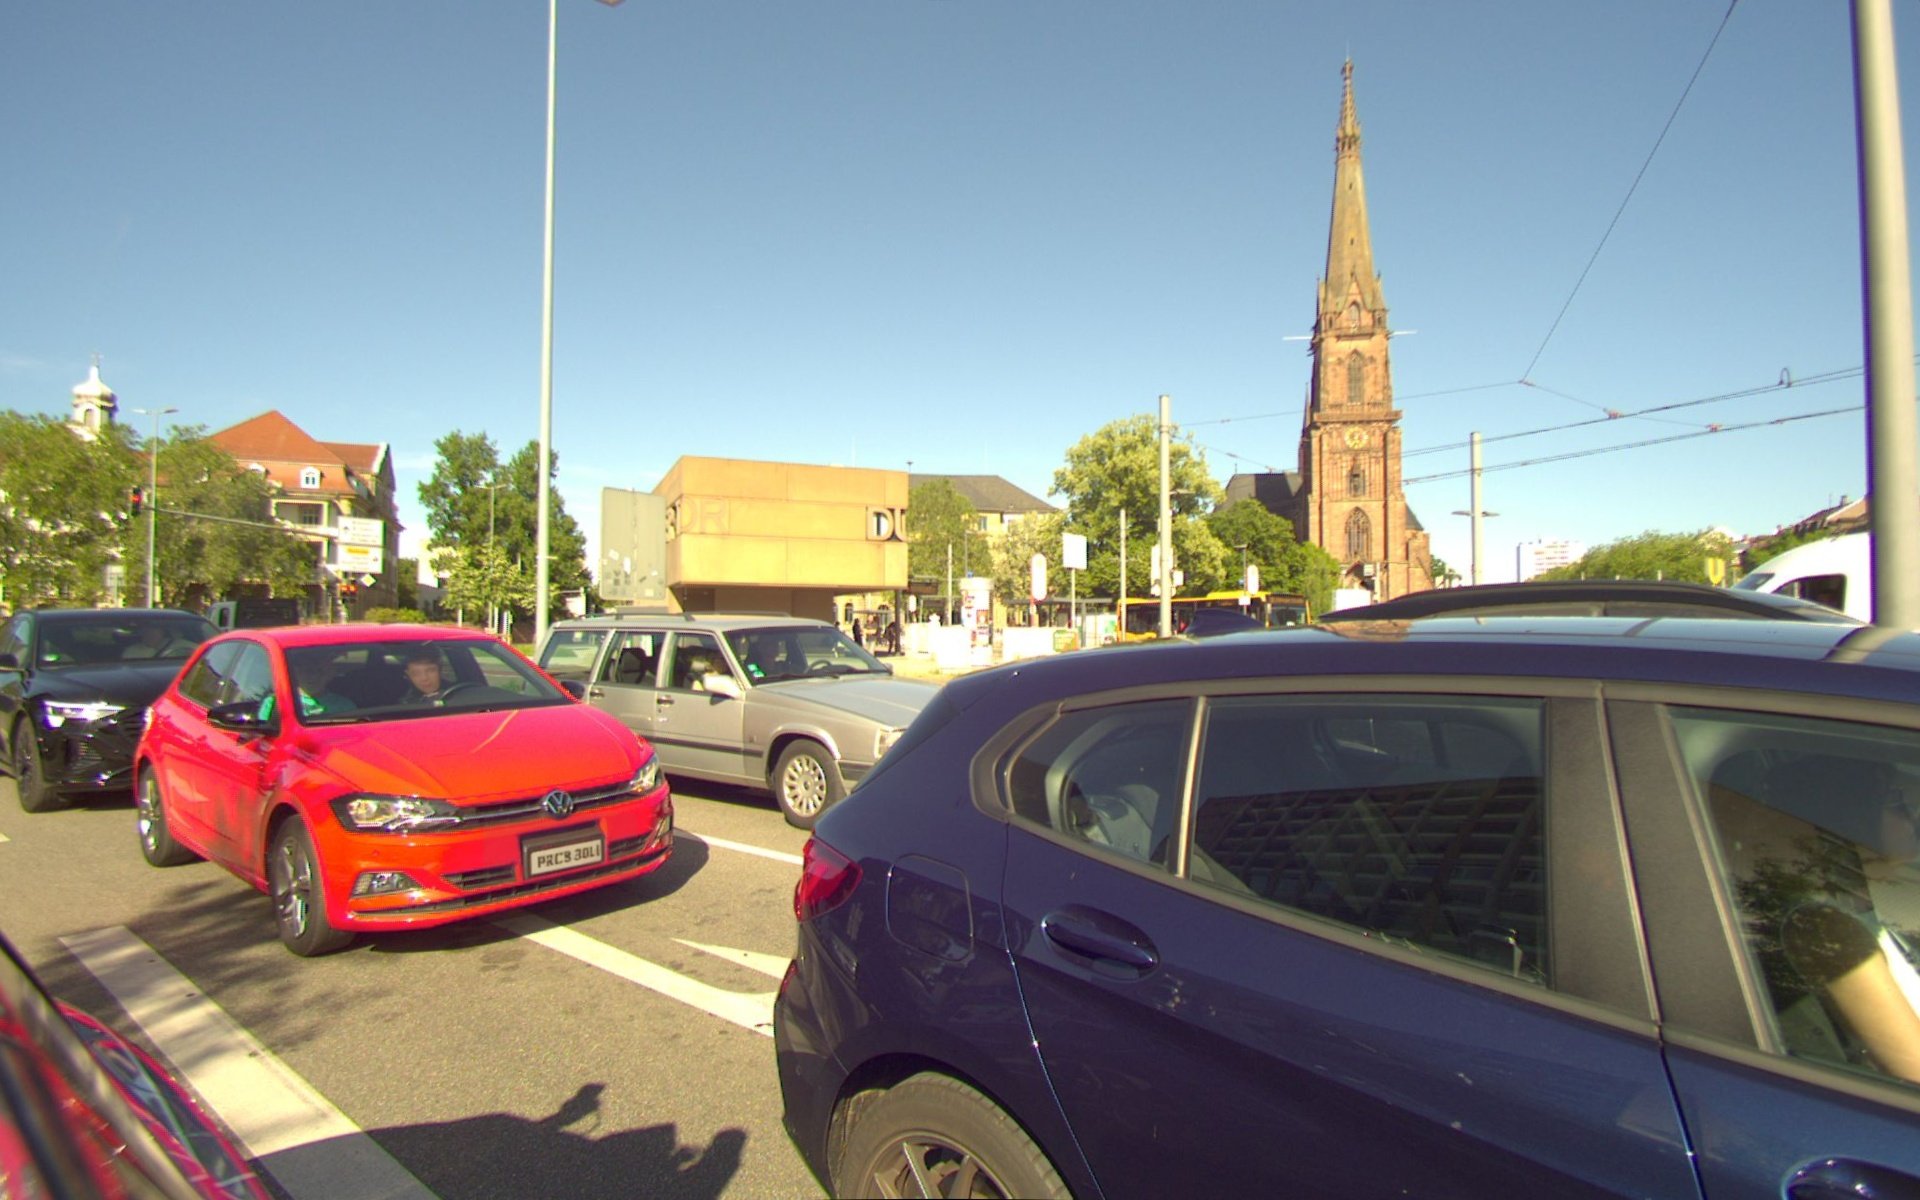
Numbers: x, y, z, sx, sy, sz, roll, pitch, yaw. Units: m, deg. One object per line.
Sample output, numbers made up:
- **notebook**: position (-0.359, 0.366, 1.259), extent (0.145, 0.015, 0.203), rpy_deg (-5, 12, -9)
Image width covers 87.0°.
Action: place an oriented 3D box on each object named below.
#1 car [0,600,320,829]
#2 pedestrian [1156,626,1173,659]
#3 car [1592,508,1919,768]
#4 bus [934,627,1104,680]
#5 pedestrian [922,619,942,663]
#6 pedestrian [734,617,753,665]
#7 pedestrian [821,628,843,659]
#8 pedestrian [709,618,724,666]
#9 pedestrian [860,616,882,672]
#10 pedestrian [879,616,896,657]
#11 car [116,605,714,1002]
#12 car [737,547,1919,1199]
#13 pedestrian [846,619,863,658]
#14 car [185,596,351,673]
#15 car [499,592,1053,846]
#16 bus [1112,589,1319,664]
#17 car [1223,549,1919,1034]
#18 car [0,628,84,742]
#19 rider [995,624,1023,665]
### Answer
- **car**: position (-7.805, 0.879, 9.299), extent (4.446, 1.628, 1.836), rpy_deg (-1, -2, 38)
- **pedestrian**: position (9.742, 2.013, 48.175), extent (0.570, 1.525, 0.521), rpy_deg (-1, -1, 40)
- **car**: position (9.919, 0.391, 10.628), extent (5.396, 2.527, 1.980), rpy_deg (-1, -2, 29)
- **bus**: position (1.479, 1.344, 26.193), extent (4.174, 1.251, 1.627), rpy_deg (-1, -2, 35)
- **pedestrian**: position (-1.137, 1.660, 41.012), extent (0.634, 1.789, 0.470), rpy_deg (1, -2, -29)
- **pedestrian**: position (-8.133, 1.533, 38.055), extent (0.635, 1.789, 0.618), rpy_deg (0, -2, -8)
- **pedestrian**: position (-5.477, 1.860, 43.212), extent (0.635, 1.320, 0.764), rpy_deg (1, -2, -40)
- **pedestrian**: position (-9.290, 1.593, 38.575), extent (0.460, 1.789, 0.648), rpy_deg (0, -2, -21)
- **pedestrian**: position (-2.926, 1.447, 33.179), extent (0.658, 1.802, 0.646), rpy_deg (-1, -1, -2)
- **pedestrian**: position (-3.213, 1.624, 45.043), extent (0.468, 1.789, 0.638), rpy_deg (-2, -2, 36)
- **car**: position (-3.242, 0.807, 5.691), extent (3.850, 1.484, 1.653), rpy_deg (-2, -1, 40)
- **car**: position (1.614, 0.674, 1.343), extent (4.030, 1.456, 1.692), rpy_deg (-1, -1, 42)
- **pedestrian**: position (-4.856, 1.787, 46.620), extent (0.468, 1.789, 0.638), rpy_deg (-2, -2, 36)
- **car**: position (-22.695, 1.133, 33.128), extent (6.191, 2.331, 2.095), rpy_deg (-1, -2, 31)
- **car**: position (-1.720, 0.806, 8.245), extent (4.746, 1.484, 1.692), rpy_deg (-3, 0, 38)
- **bus**: position (11.621, 1.319, 48.113), extent (2.715, 3.088, 12.201), rpy_deg (1, -2, -23)
- **car**: position (3.320, 0.619, 4.122), extent (4.010, 1.529, 1.738), rpy_deg (-2, -2, 44)
- **car**: position (-13.658, 1.125, 13.927), extent (3.704, 1.429, 1.557), rpy_deg (-1, -1, 35)
- **rider**: position (1.782, 1.600, 36.774), extent (0.658, 1.475, 0.864), rpy_deg (1, -2, -30)
